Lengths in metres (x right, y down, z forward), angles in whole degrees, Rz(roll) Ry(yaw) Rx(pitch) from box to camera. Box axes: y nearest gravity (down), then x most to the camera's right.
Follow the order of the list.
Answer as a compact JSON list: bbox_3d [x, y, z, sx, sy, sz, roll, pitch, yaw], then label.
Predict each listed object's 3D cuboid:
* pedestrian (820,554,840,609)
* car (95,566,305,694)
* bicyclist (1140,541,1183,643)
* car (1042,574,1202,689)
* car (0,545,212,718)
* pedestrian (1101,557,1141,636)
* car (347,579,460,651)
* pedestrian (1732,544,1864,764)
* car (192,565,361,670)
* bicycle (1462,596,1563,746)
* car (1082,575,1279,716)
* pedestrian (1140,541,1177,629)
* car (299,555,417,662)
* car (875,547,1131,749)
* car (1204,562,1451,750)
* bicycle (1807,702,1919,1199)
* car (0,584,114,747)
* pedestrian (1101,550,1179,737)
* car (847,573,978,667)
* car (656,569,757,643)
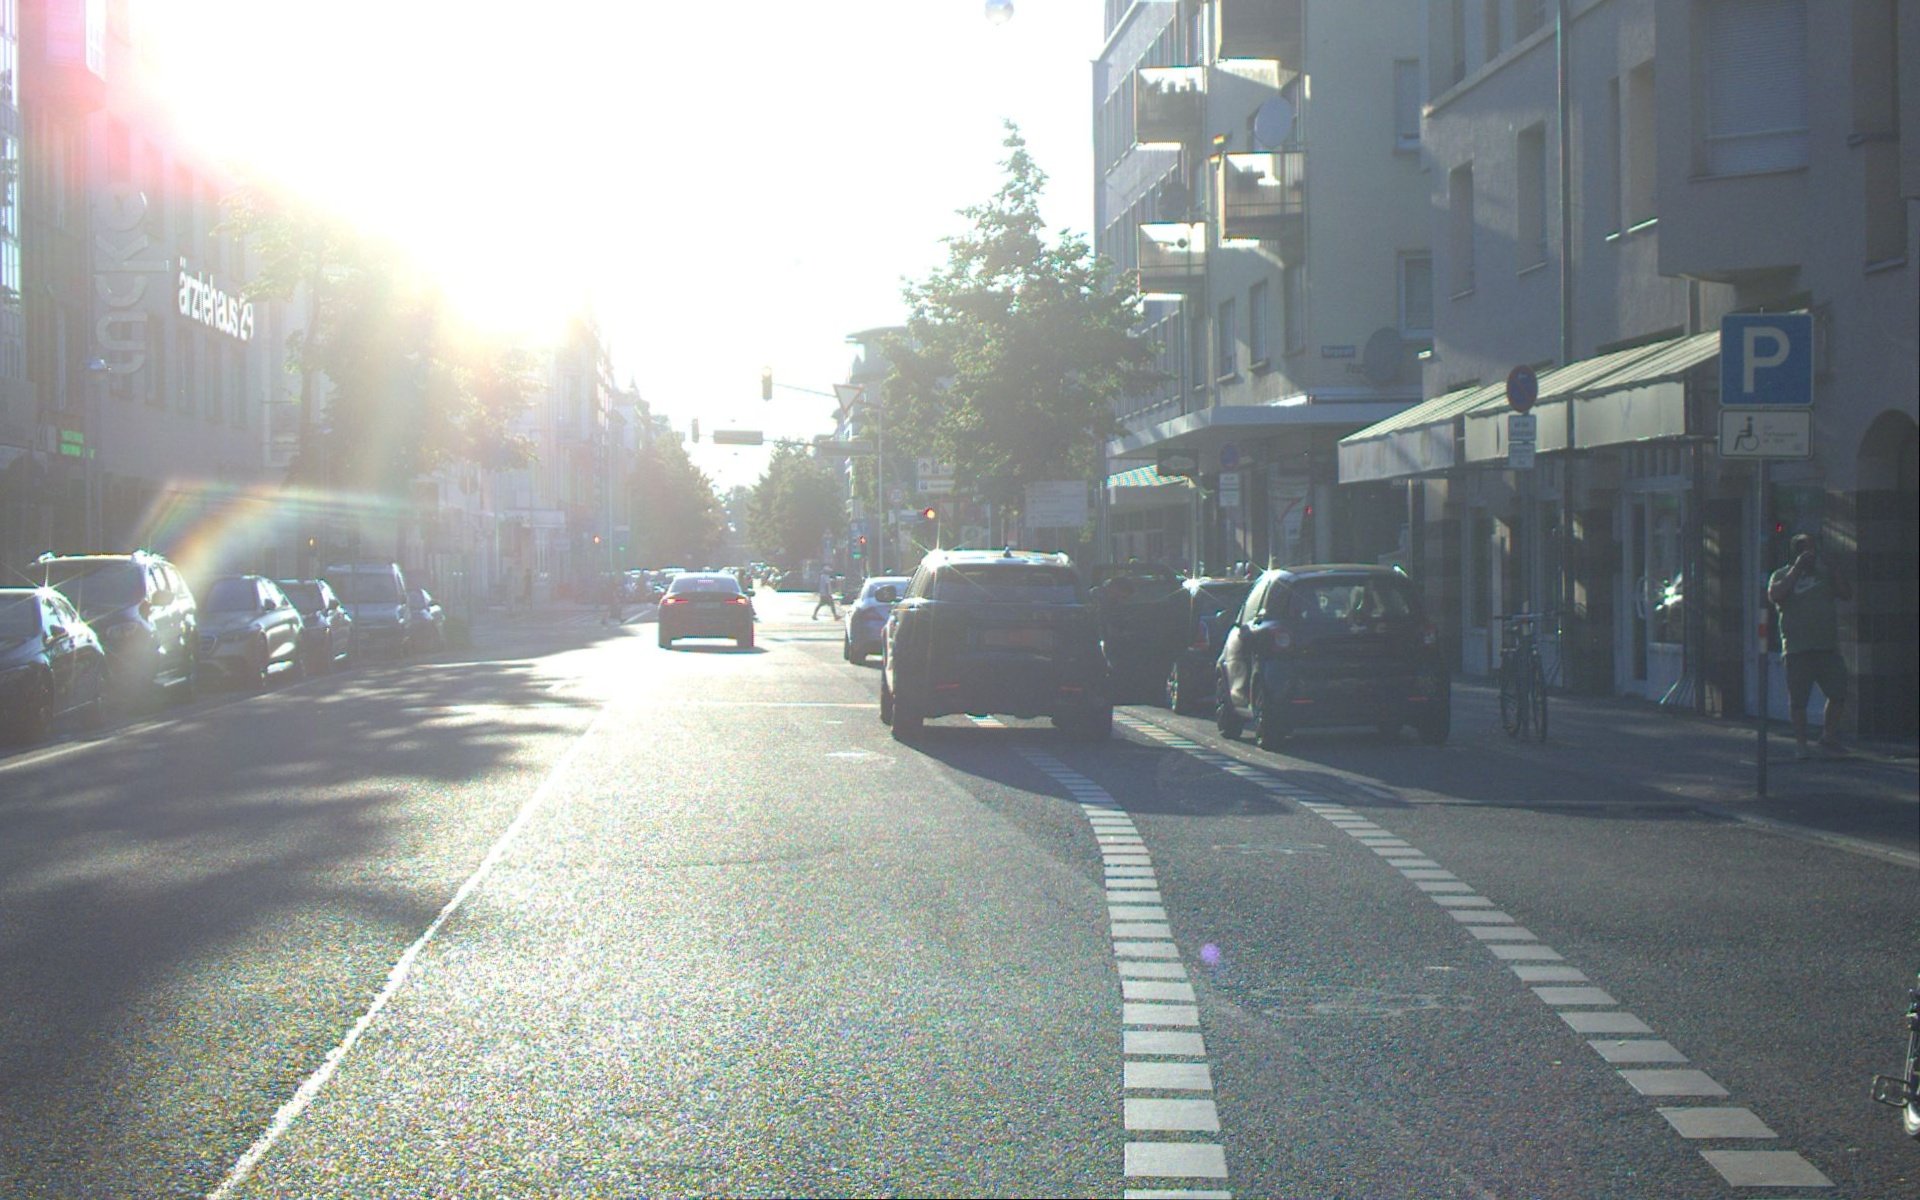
[{"bbox_3d":[-4.108,-0.592,108.458,0.494,1.709,0.462,-1,1,-23],"label":"pedestrian"},{"bbox_3d":[-10.152,0.352,46.268,1.827,1.551,5.136,-2,1,-2],"label":"car"},{"bbox_3d":[3.414,-0.139,58.262,0.650,1.696,1.095,0,0,-1],"label":"bicyclist"},{"bbox_3d":[2.062,0.378,44.783,1.703,1.431,3.932,0,0,-3],"label":"car"},{"bbox_3d":[-9.891,0.310,39.482,1.827,1.804,5.349,-2,1,-5],"label":"car"},{"bbox_3d":[3.180,-0.071,67.988,0.688,1.553,0.863,0,0,-3],"label":"pedestrian"},{"bbox_3d":[-10.929,0.264,67.706,1.832,1.323,4.124,-1,1,-4],"label":"car"},{"bbox_3d":[6.398,0.409,26.285,0.810,1.641,0.606,-2,0,1],"label":"pedestrian"},{"bbox_3d":[-10.310,0.240,52.173,1.827,1.434,4.554,-3,0,-3],"label":"car"},{"bbox_3d":[4.780,0.596,29.813,0.397,1.230,1.826,-1,1,-6],"label":"bicycle"},{"bbox_3d":[2.336,0.452,37.160,1.633,1.419,3.758,-1,1,-4],"label":"car"},{"bbox_3d":[3.911,-0.295,67.773,0.688,1.716,0.716,-1,0,3],"label":"pedestrian"},{"bbox_3d":[-10.739,0.138,61.519,1.832,1.848,4.125,0,0,-6],"label":"car"},{"bbox_3d":[0.306,0.380,31.300,1.995,1.649,4.674,1,0,-3],"label":"car"},{"bbox_3d":[3.194,0.454,30.309,1.632,1.548,2.695,-1,1,-6],"label":"car"},{"bbox_3d":[2.423,0.847,8.543,0.362,1.137,1.565,-1,0,5],"label":"bicycle"},{"bbox_3d":[-9.430,0.604,33.017,1.713,1.435,4.310,-2,1,-3],"label":"car"},{"bbox_3d":[1.625,0.388,31.061,0.441,1.659,0.565,-1,1,-28],"label":"pedestrian"},{"bbox_3d":[-0.819,0.294,55.867,1.922,1.410,4.548,2,0,-3],"label":"car"},{"bbox_3d":[-4.981,0.104,68.083,1.883,1.410,4.325,0,0,-3],"label":"car"}]
